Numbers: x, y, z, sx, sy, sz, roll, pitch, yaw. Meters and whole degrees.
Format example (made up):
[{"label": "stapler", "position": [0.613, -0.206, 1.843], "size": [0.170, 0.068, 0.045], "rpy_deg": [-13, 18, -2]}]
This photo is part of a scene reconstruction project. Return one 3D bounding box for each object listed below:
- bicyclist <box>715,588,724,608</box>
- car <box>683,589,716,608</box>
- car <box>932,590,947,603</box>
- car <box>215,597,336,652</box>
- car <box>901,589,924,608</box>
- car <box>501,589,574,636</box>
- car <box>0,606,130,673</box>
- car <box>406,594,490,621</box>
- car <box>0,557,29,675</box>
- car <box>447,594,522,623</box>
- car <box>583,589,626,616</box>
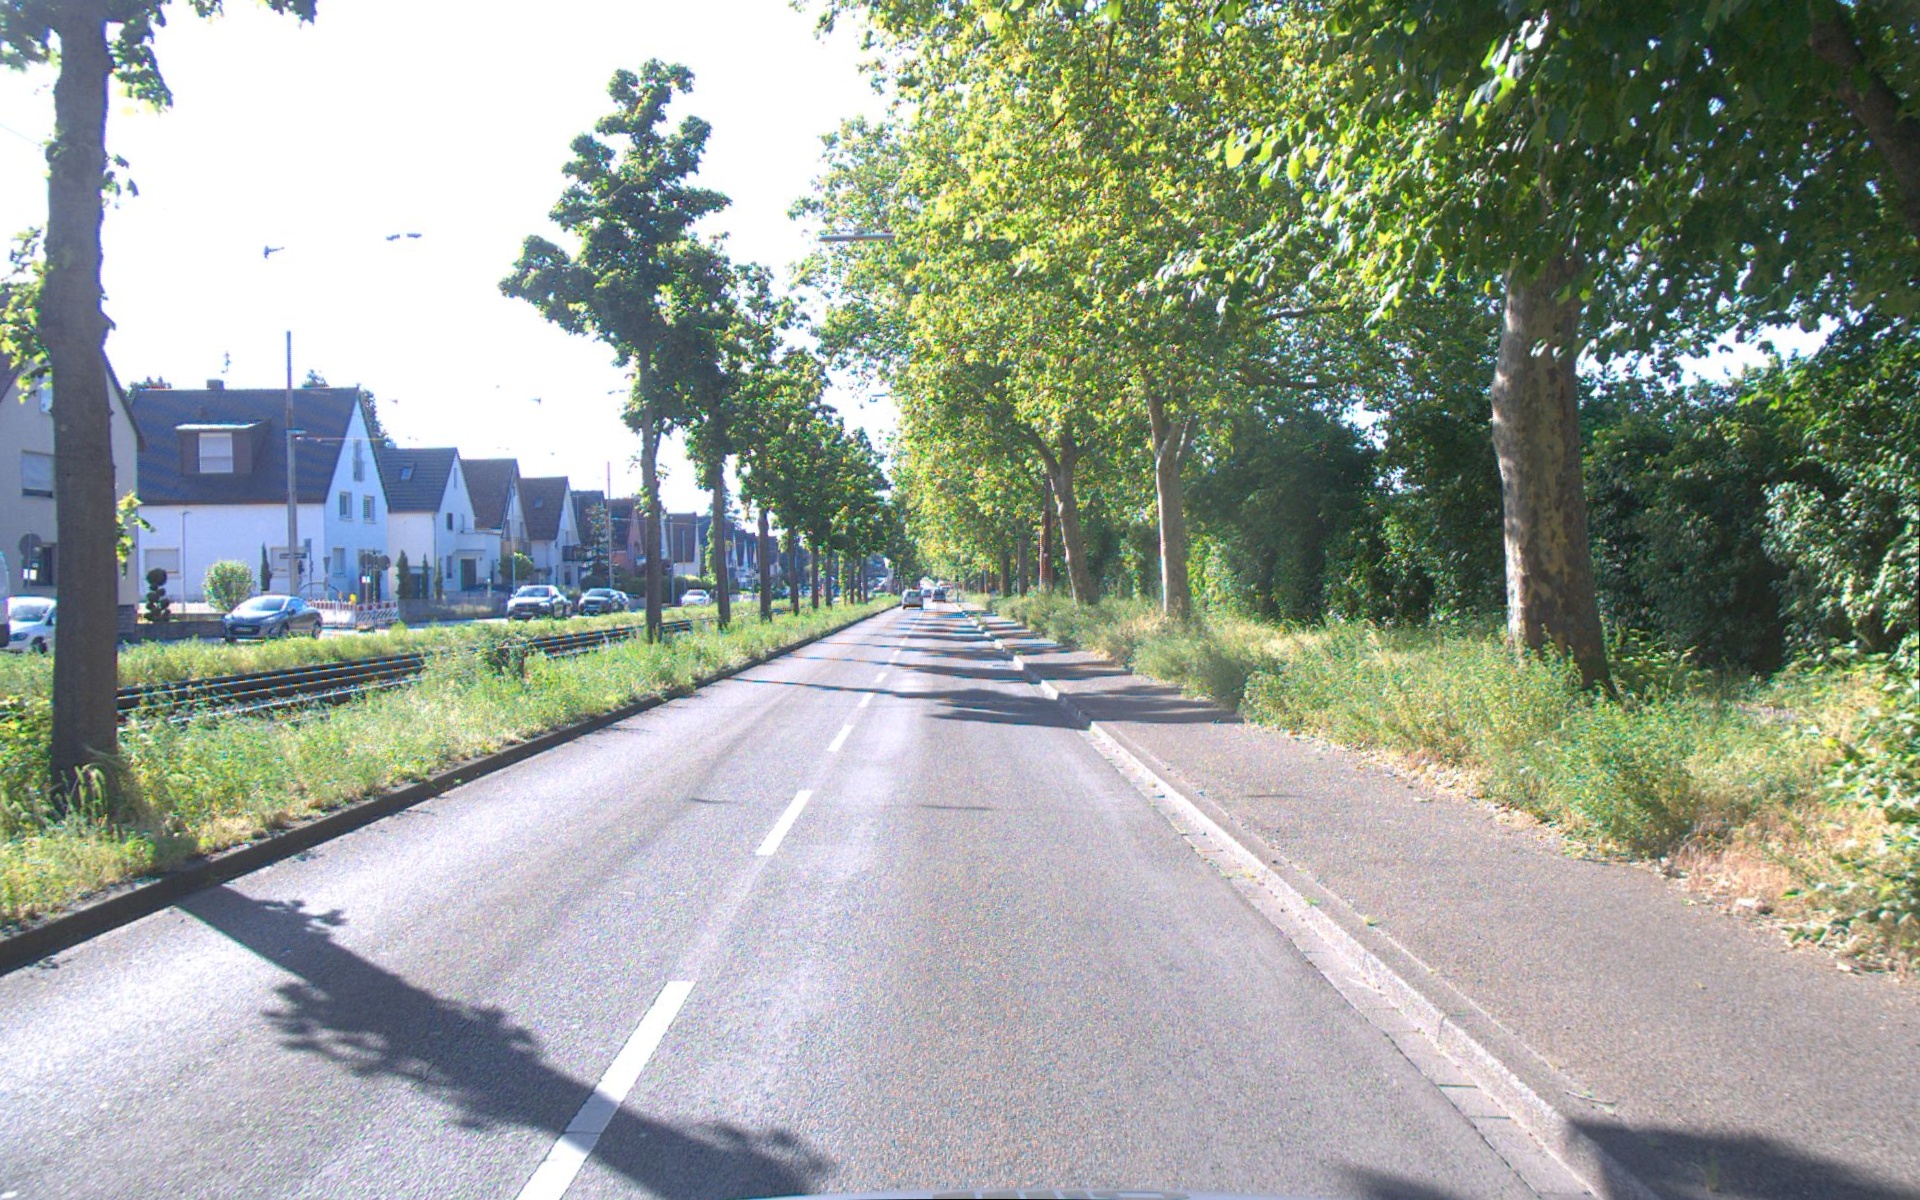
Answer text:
[{"label": "bicyclist", "position": [-20.688, -0.182, 142.412], "size": [0.674, 1.681, 0.881], "rpy_deg": [0, 0, -1]}, {"label": "car", "position": [-22.939, -0.094, 145.831], "size": [1.952, 1.627, 4.733], "rpy_deg": [0, 0, 3]}, {"label": "car", "position": [-2.414, -0.427, 192.618], "size": [1.725, 1.539, 3.276], "rpy_deg": [0, 0, 0]}, {"label": "car", "position": [-21.479, 0.745, 52.115], "size": [1.953, 1.609, 4.498], "rpy_deg": [0, 1, 0]}, {"label": "car", "position": [-3.626, -0.084, 126.778], "size": [1.703, 1.425, 3.276], "rpy_deg": [0, 0, -1]}, {"label": "car", "position": [-17.838, 0.529, 69.977], "size": [1.876, 1.916, 4.523], "rpy_deg": [0, 0, 0]}, {"label": "car", "position": [-21.236, 0.863, 38.286], "size": [1.787, 1.437, 4.656], "rpy_deg": [0, 0, -1]}, {"label": "car", "position": [-28.766, 0.437, 92.975], "size": [4.130, 1.489, 1.936], "rpy_deg": [0, 0, -5]}, {"label": "car", "position": [-21.159, 0.326, 32.607], "size": [1.953, 2.502, 6.673], "rpy_deg": [0, 0, -1]}, {"label": "car", "position": [-28.064, 0.504, 97.711], "size": [3.909, 1.699, 1.998], "rpy_deg": [0, 0, -5]}, {"label": "car", "position": [-21.949, 0.146, 102.252], "size": [1.610, 1.595, 4.386], "rpy_deg": [0, 0, 1]}]
